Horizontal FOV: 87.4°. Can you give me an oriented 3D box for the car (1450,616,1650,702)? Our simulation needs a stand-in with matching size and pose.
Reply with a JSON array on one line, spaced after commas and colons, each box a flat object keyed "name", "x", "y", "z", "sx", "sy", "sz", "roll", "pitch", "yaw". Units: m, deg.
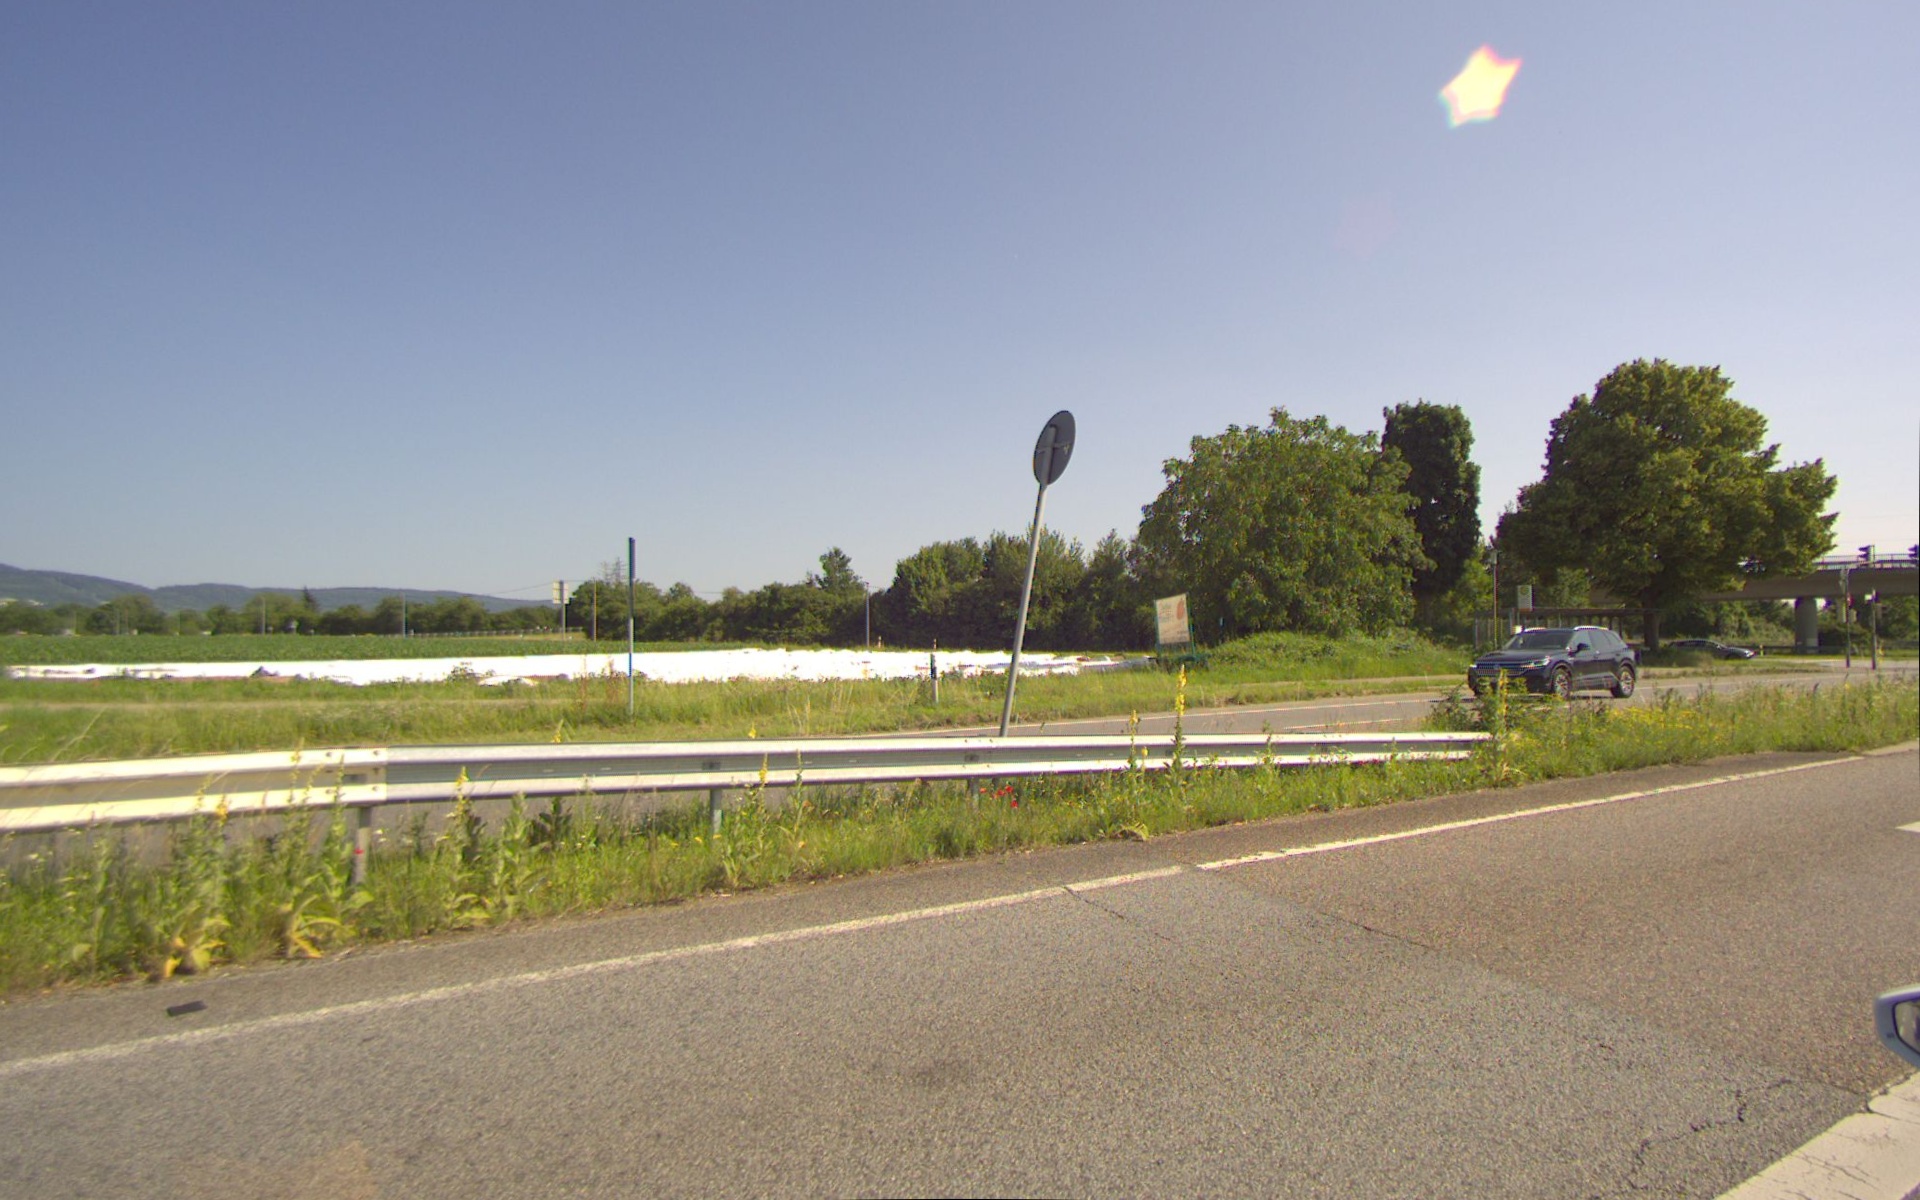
[{"name": "car", "x": 14.133, "y": 1.373, "z": 24.007, "sx": 4.897, "sy": 1.864, "sz": 1.984, "roll": 1, "pitch": -4, "yaw": -31}]

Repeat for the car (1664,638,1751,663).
[{"name": "car", "x": 44.559, "y": 2.983, "z": 59.922, "sx": 4.065, "sy": 1.443, "sz": 1.862, "roll": -2, "pitch": -3, "yaw": 40}]
